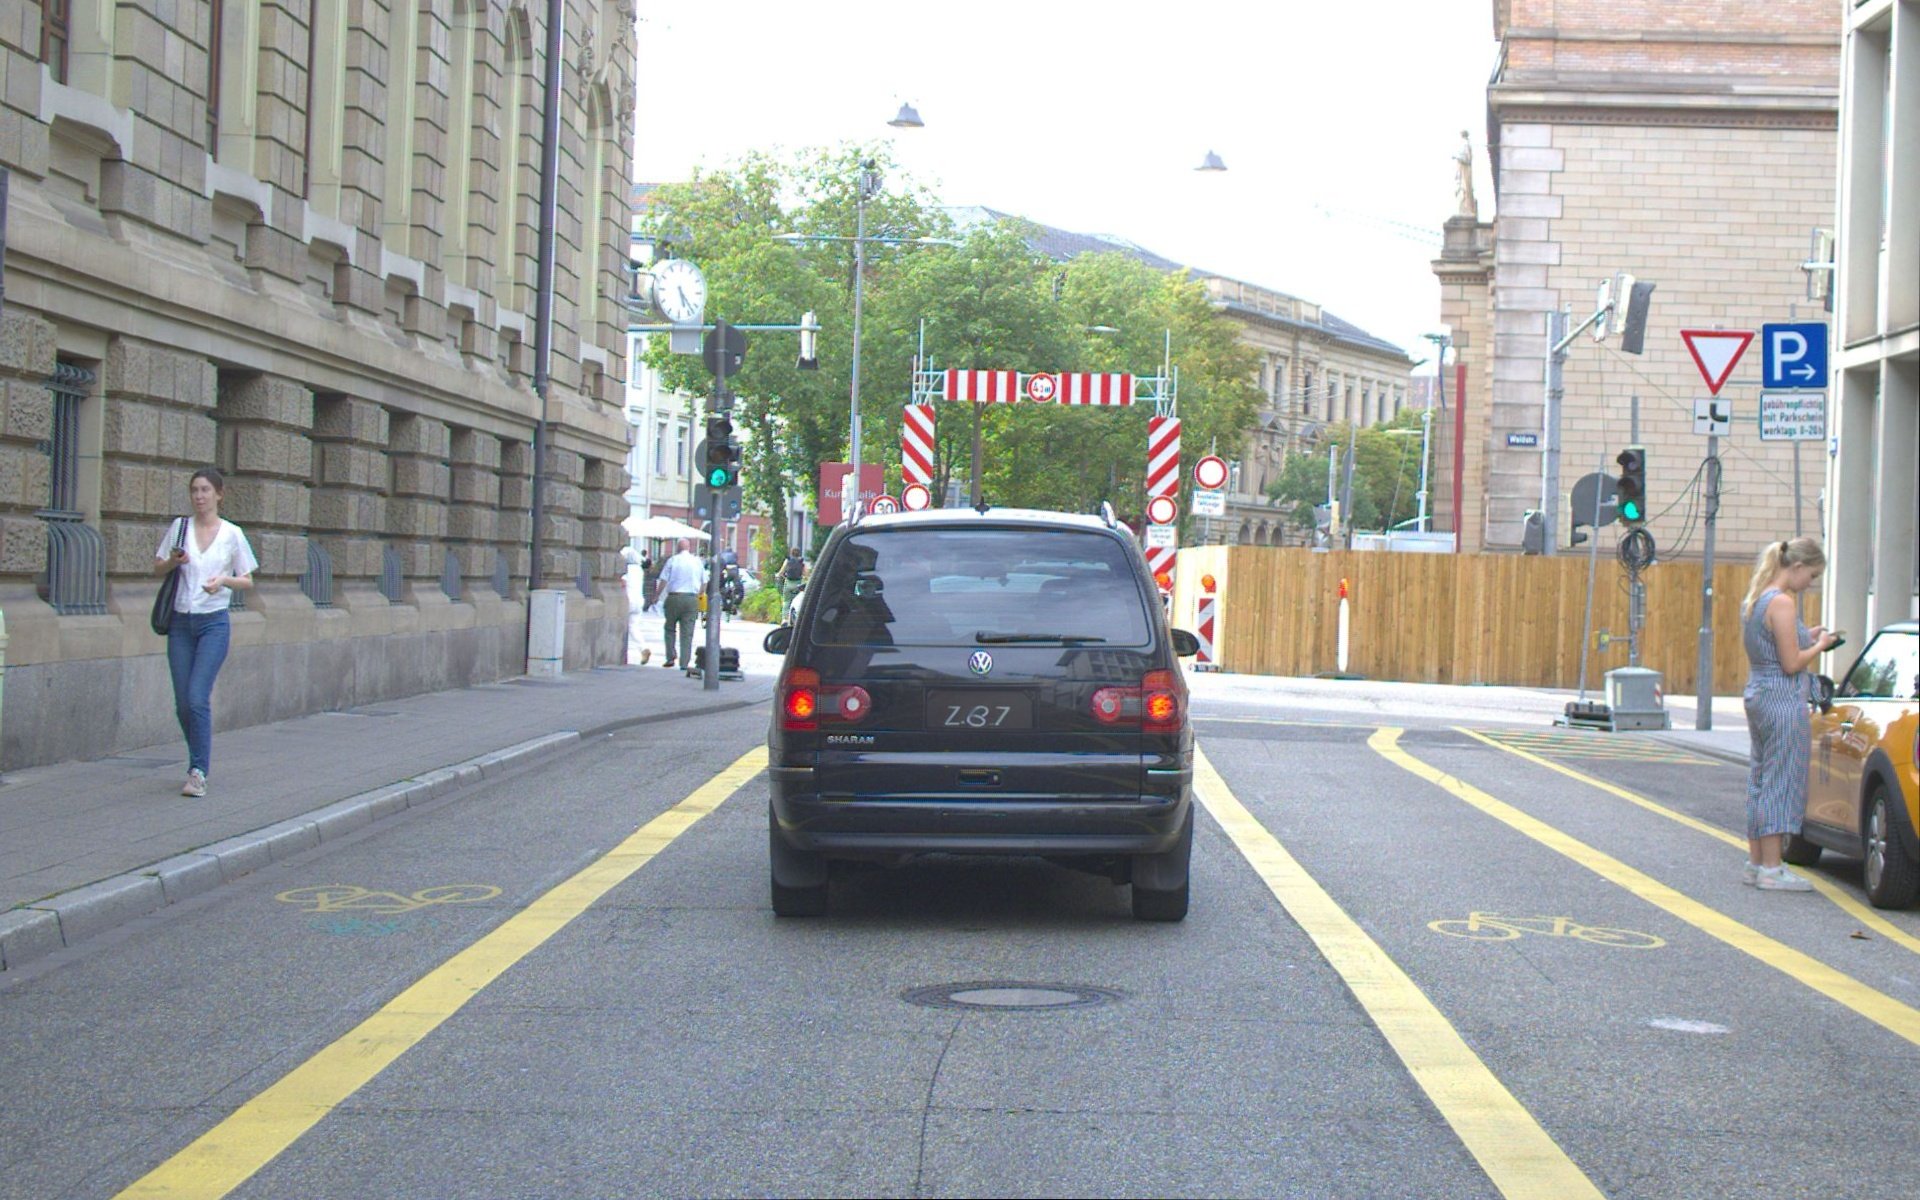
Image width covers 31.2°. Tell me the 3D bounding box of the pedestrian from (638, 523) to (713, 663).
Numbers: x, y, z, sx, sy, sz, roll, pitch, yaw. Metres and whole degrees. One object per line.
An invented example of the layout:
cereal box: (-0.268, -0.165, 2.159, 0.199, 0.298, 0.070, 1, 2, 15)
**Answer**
pedestrian: (-3.832, -0.092, 46.349, 0.792, 1.813, 1.048, 4, 0, 1)

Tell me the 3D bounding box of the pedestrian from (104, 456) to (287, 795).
pedestrian: (-4.281, 0.138, 19.314, 0.664, 1.813, 1.048, 4, 0, 1)

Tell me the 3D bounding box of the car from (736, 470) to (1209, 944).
car: (0.180, 0.411, 15.510, 1.790, 1.784, 4.102, 2, 0, 4)

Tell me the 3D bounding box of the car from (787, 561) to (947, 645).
car: (-1.608, 0.033, 58.116, 1.649, 1.317, 3.676, 2, 0, -19)

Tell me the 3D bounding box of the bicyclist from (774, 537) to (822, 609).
bicyclist: (-3.182, -0.533, 67.484, 0.735, 1.371, 0.832, 2, 0, -15)

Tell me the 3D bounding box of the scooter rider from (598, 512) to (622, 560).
scooter rider: (-10.984, -1.999, 107.903, 0.599, 1.485, 0.679, 2, 0, 4)

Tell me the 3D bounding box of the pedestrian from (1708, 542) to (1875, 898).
pedestrian: (4.234, 0.599, 17.542, 0.698, 1.758, 0.705, 2, 0, 7)

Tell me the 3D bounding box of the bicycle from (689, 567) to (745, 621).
bicycle: (-4.768, -0.123, 67.329, 0.735, 1.005, 2.069, 2, 0, -14)

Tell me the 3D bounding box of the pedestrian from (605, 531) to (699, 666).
pedestrian: (-4.330, -0.028, 48.292, 0.792, 1.813, 1.048, 4, 0, -35)

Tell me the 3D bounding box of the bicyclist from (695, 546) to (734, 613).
bicyclist: (-5.475, -0.454, 76.511, 0.735, 1.465, 0.809, 2, 0, -11)

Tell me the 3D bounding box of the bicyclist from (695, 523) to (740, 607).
bicyclist: (-4.749, -0.679, 67.323, 0.735, 1.606, 0.695, 2, 0, -14)

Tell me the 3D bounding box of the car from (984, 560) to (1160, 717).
car: (1.189, 0.392, 37.642, 1.773, 1.580, 4.000, 2, 0, 1)

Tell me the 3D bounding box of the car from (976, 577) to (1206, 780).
car: (1.040, 0.583, 27.938, 1.678, 1.464, 4.103, 2, 0, 2)

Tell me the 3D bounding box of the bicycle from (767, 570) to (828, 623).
bicycle: (-3.201, -0.083, 67.495, 0.735, 1.005, 2.069, 2, 0, -15)

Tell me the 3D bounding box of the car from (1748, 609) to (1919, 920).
car: (5.309, 0.807, 17.918, 1.680, 1.430, 3.886, 3, 0, 4)
